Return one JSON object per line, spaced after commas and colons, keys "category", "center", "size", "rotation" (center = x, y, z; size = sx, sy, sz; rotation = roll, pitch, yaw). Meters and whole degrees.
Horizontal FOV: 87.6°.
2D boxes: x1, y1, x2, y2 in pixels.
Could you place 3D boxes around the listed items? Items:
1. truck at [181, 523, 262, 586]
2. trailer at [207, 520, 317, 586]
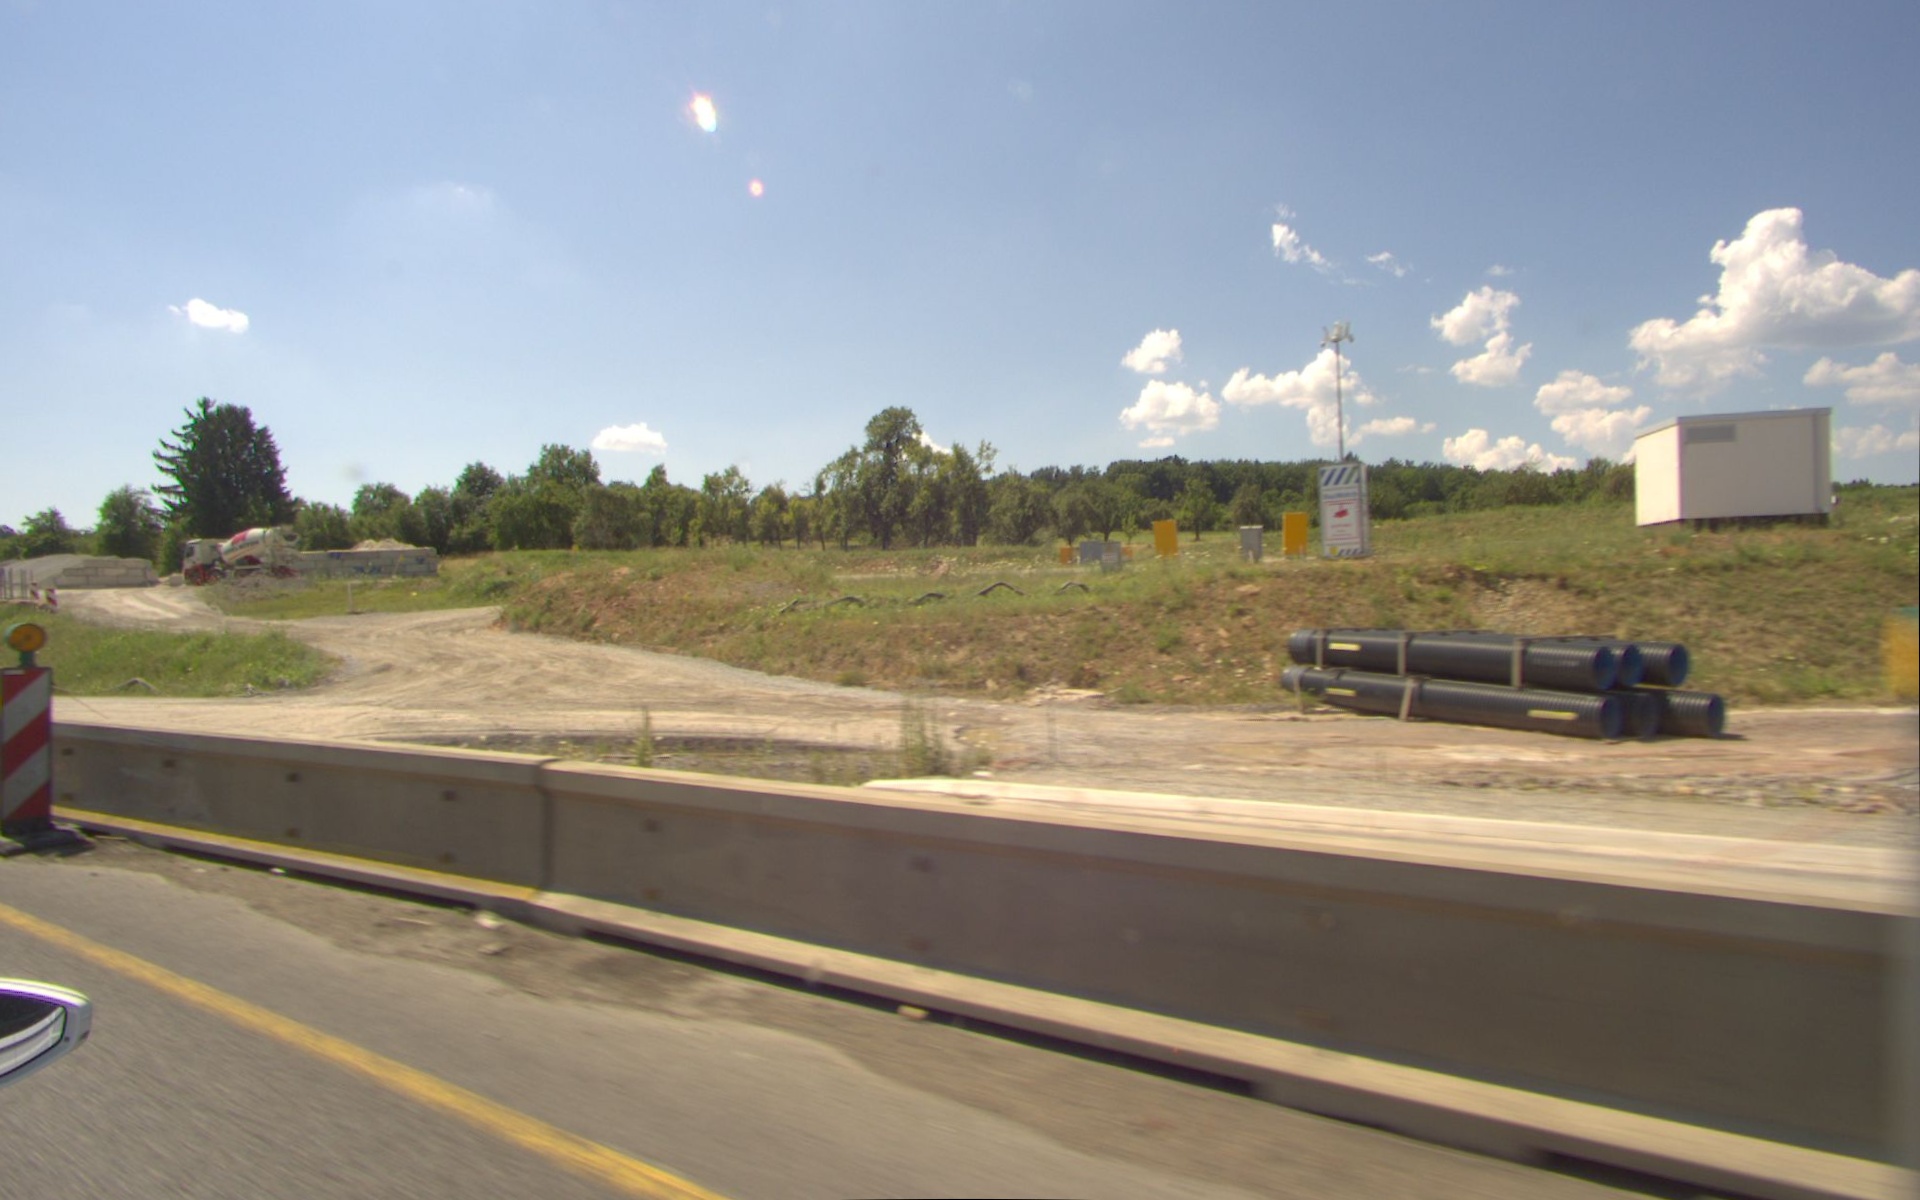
{"category": "truck", "center": [-51.479, -3.087, 69.830], "size": [4.027, 4.150, 2.749], "rotation": [0, 0, 18]}
{"category": "trailer", "center": [-47.757, -3.127, 68.568], "size": [6.626, 4.169, 2.760], "rotation": [-1, 0, 19]}
